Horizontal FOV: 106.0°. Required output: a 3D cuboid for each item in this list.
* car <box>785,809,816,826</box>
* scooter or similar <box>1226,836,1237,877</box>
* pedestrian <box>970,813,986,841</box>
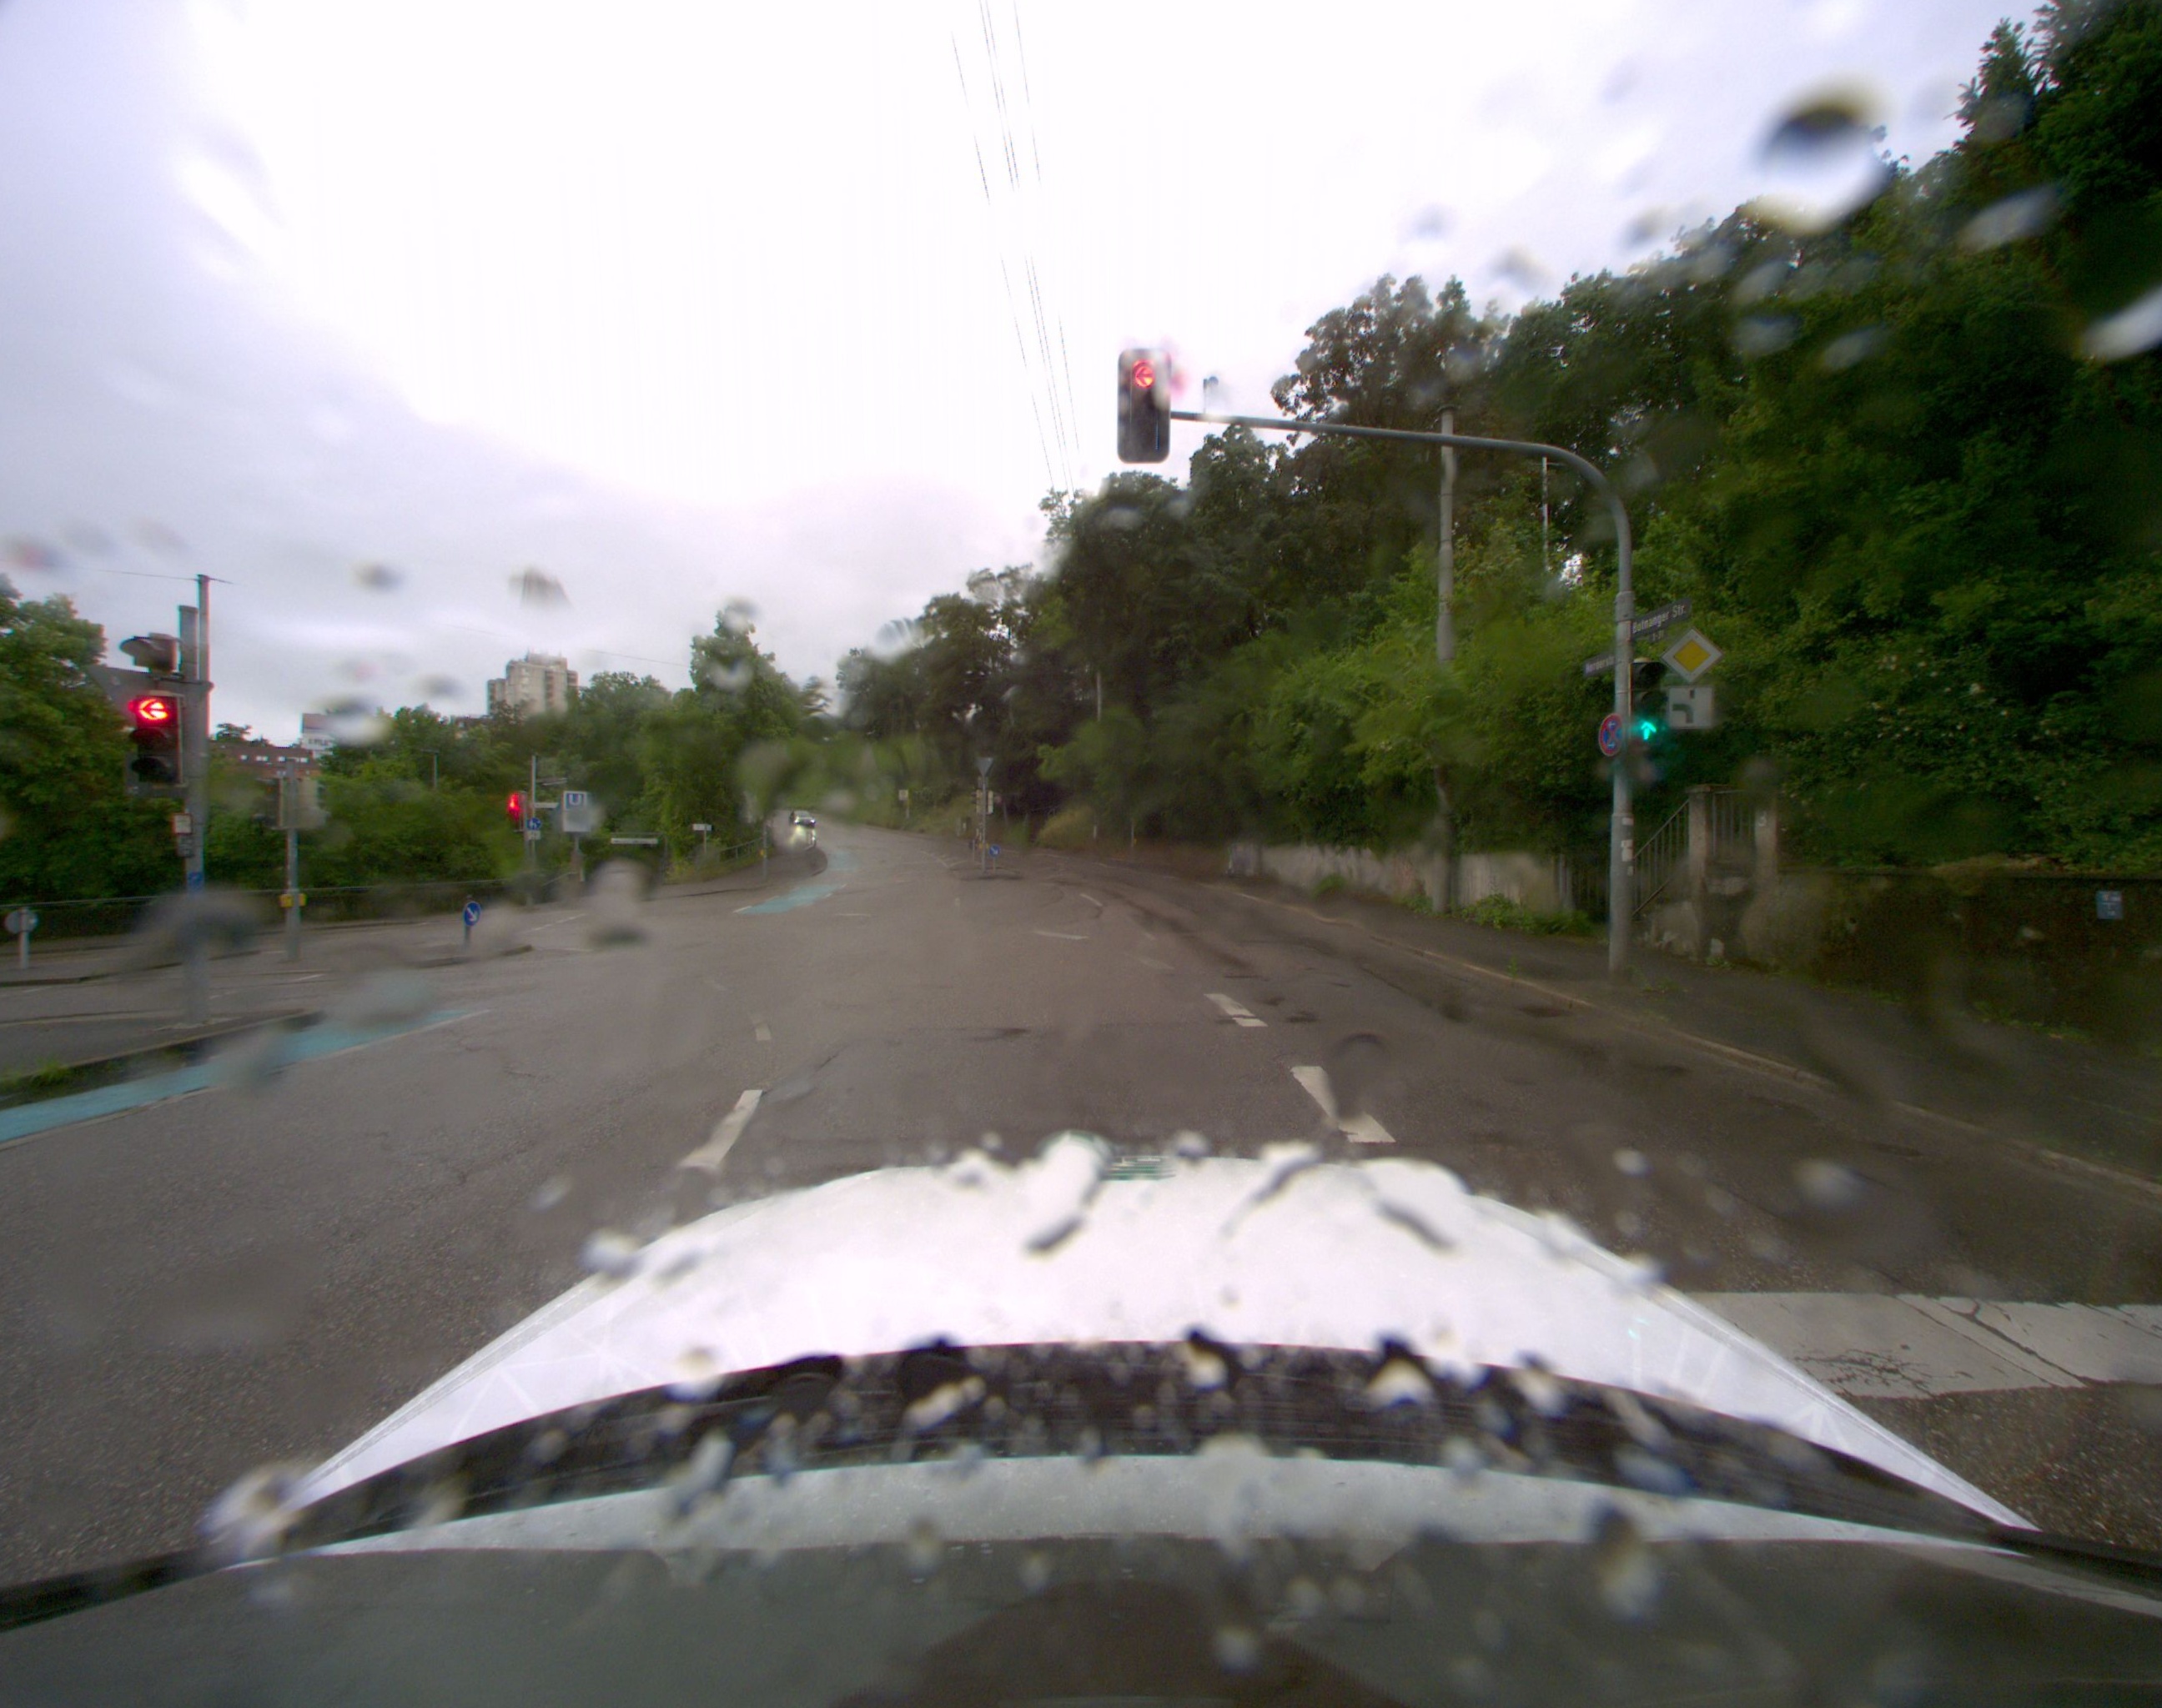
[{"bbox_3d":[-25.107,-3.284,72.828,1.968,1.511,4.364,-1,3,-29],"label":"car"},{"bbox_3d":[4.902,0.067,26.511,0.320,1.279,0.754,-1,2,10],"label":"scooter or similar"},{"bbox_3d":[-6.628,-1.728,52.425,0.882,1.736,0.861,0,-1,-15],"label":"pedestrian"}]
